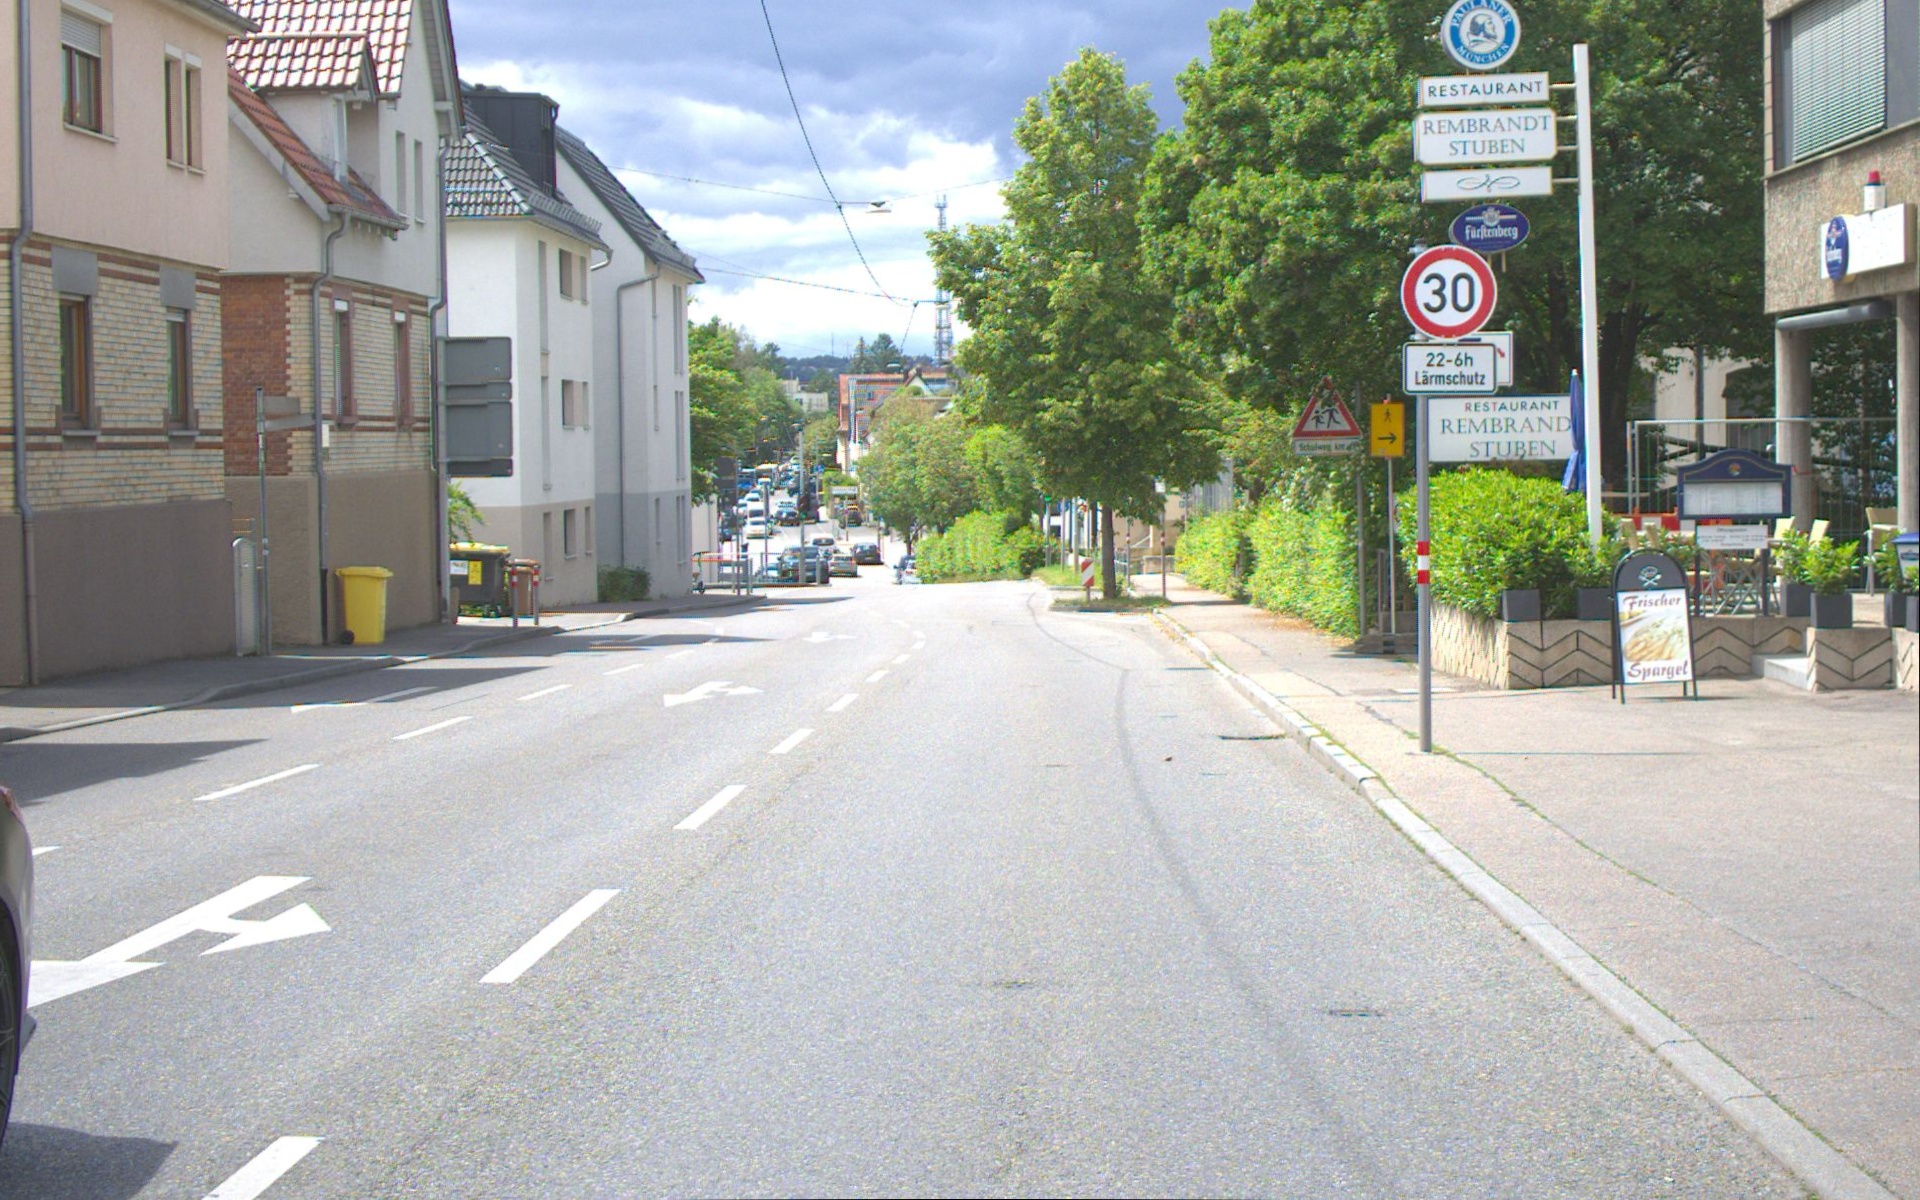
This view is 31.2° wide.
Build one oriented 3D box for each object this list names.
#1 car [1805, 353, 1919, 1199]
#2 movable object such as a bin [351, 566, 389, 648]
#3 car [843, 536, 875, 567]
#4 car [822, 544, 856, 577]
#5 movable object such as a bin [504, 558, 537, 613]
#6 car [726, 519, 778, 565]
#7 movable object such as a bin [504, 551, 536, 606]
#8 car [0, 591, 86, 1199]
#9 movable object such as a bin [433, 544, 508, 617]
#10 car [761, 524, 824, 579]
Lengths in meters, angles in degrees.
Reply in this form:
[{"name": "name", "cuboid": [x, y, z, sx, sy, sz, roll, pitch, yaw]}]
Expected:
[{"name": "car", "cuboid": [2.854, 0.376, 5.555, 1.911, 1.788, 4.491, -4, 1, 2]}, {"name": "movable object such as a bin", "cuboid": [-8.228, 0.093, 47.918, 0.431, 1.124, 0.299, -2, 1, 0]}, {"name": "car", "cuboid": [-6.856, -3.287, 233.709, 1.993, 2.007, 4.000, -2, 1, -3]}, {"name": "car", "cuboid": [-7.690, -2.523, 217.974, 1.993, 2.007, 4.000, -2, 1, -3]}, {"name": "movable object such as a bin", "cuboid": [-8.315, -0.275, 65.005, 0.531, 1.026, 0.455, -2, 1, 0]}, {"name": "car", "cuboid": [-9.314, -2.597, 153.636, 1.993, 2.007, 4.001, -2, 1, -8]}, {"name": "movable object such as a bin", "cuboid": [-8.416, -0.417, 65.759, 0.531, 1.026, 0.455, -2, 1, 0]}, {"name": "car", "cuboid": [-3.286, 0.809, 6.429, 1.993, 1.452, 4.617, -2, 2, 1]}, {"name": "movable object such as a bin", "cuboid": [-9.094, -0.376, 63.931, 1.281, 1.305, 0.816, -2, 1, -4]}, {"name": "car", "cuboid": [-6.362, -1.860, 130.464, 1.993, 2.007, 4.001, -2, 1, -8]}]
